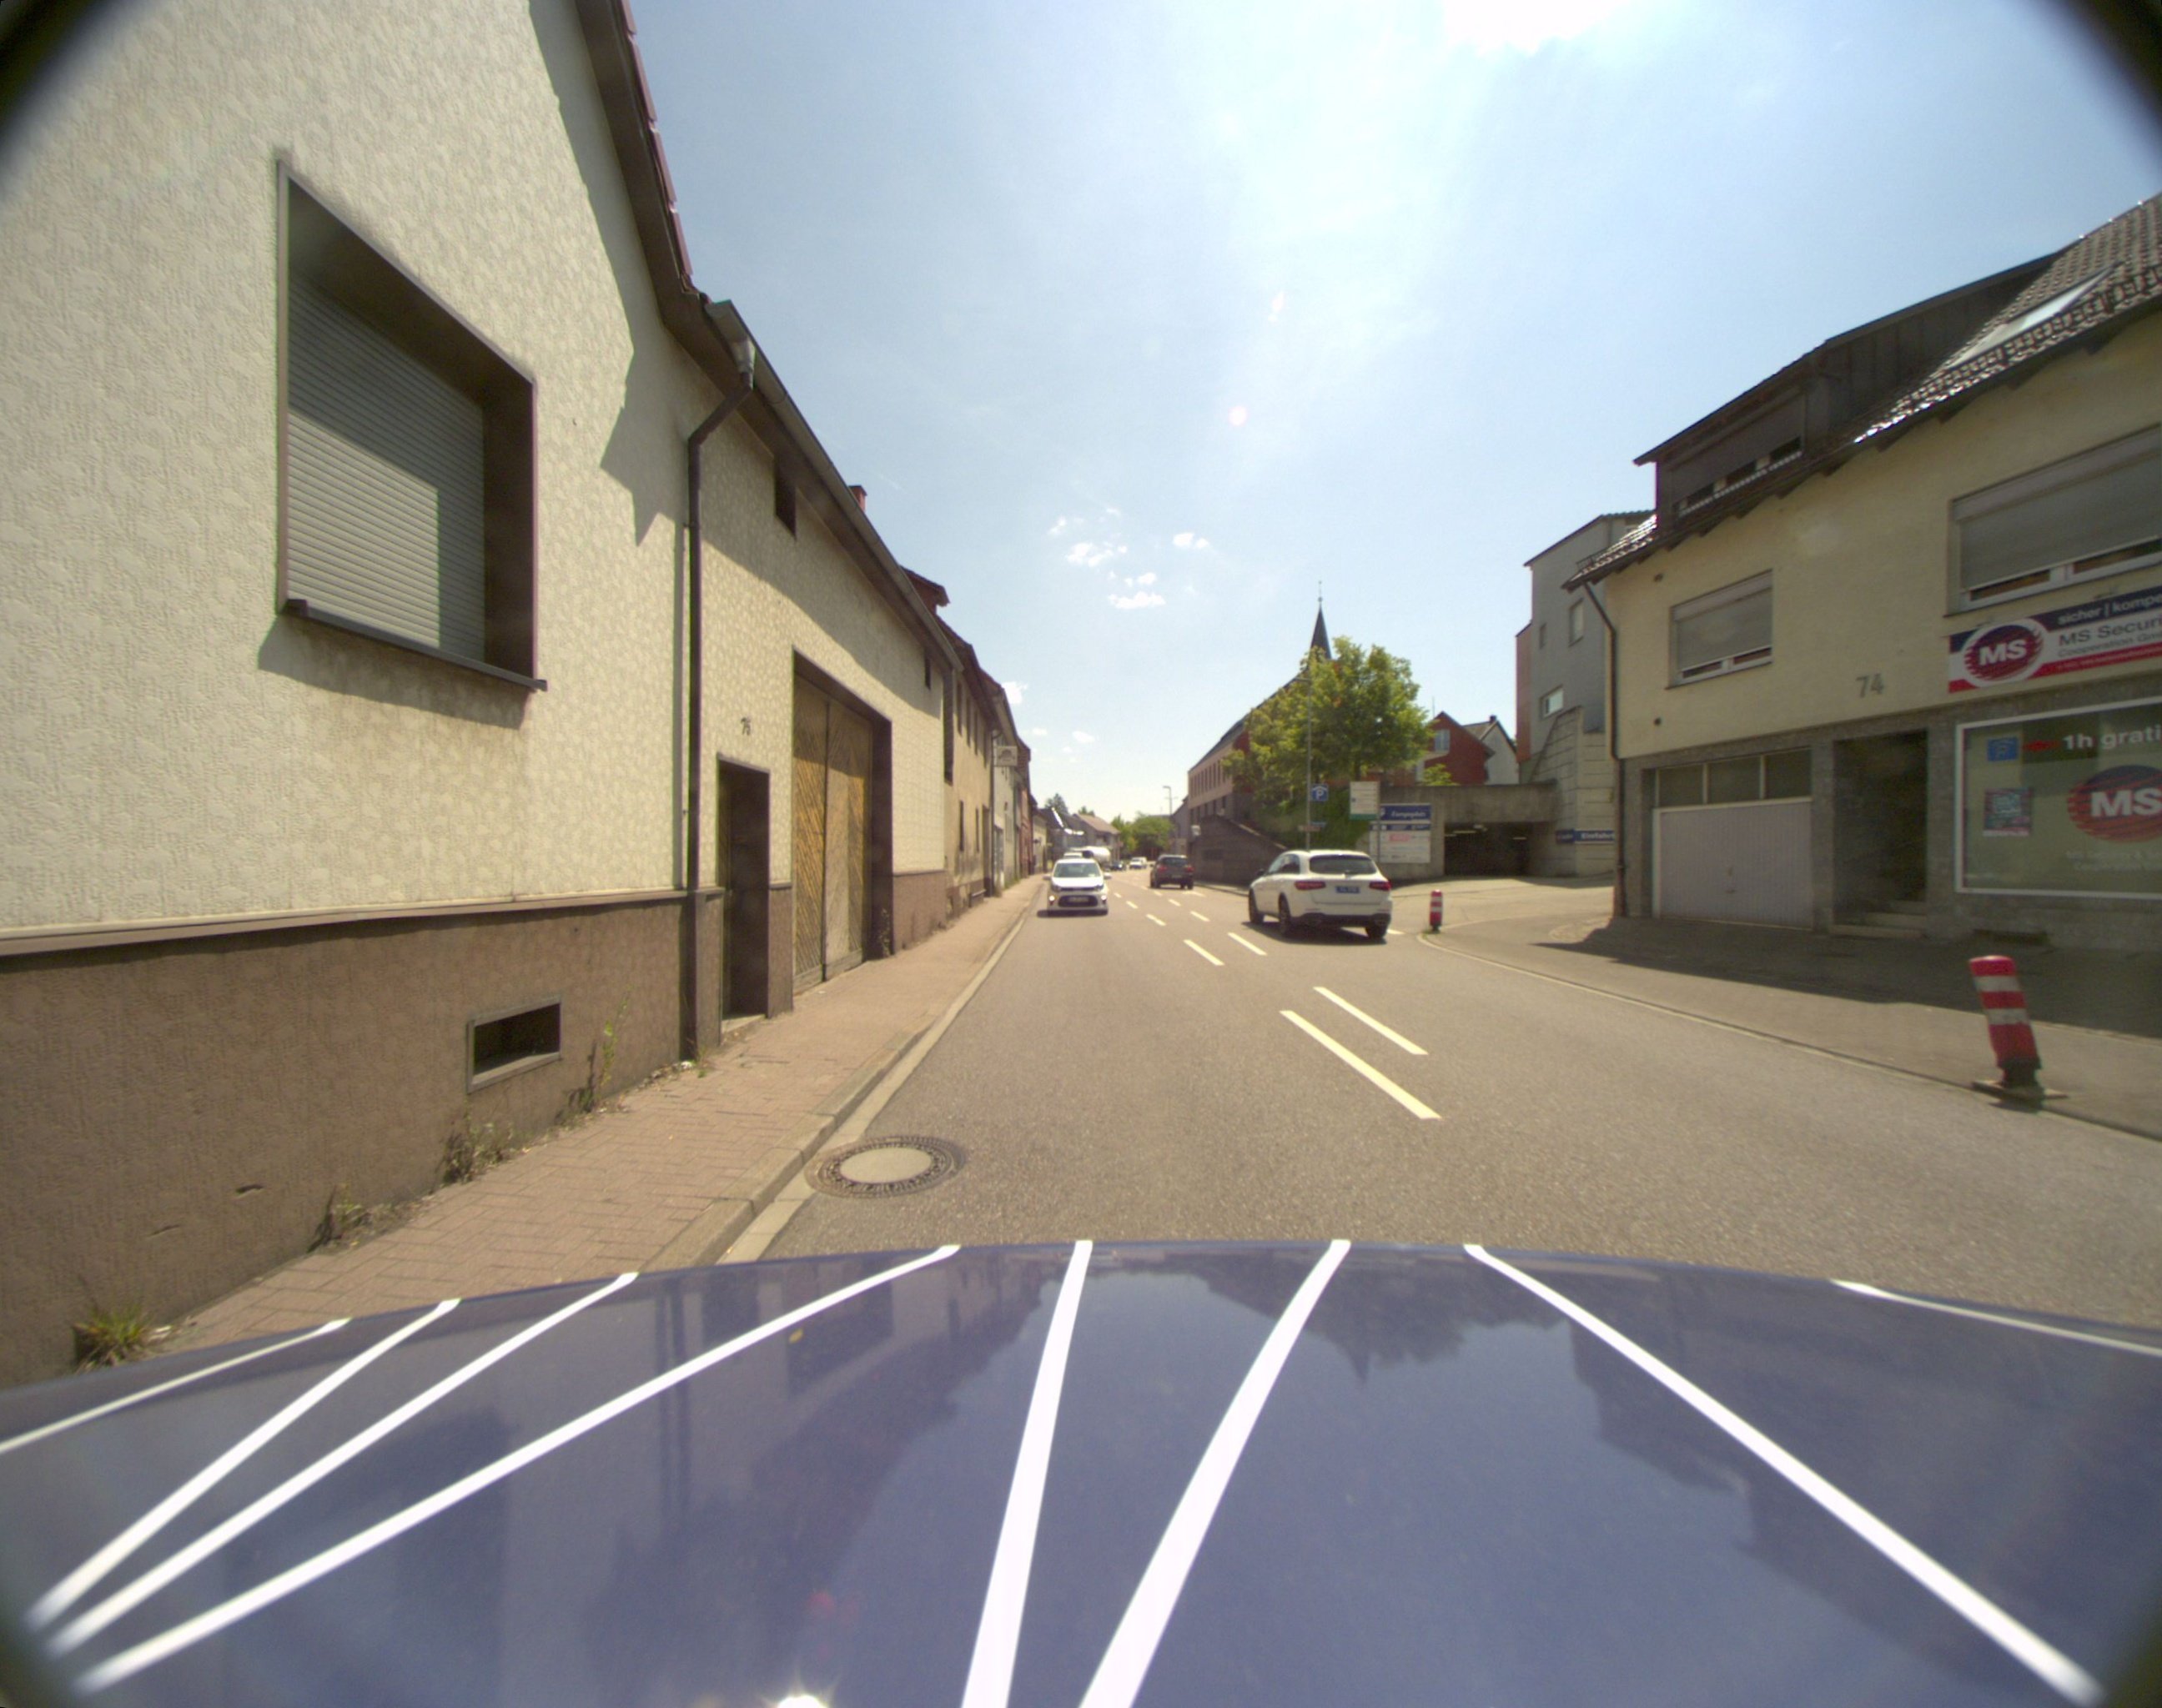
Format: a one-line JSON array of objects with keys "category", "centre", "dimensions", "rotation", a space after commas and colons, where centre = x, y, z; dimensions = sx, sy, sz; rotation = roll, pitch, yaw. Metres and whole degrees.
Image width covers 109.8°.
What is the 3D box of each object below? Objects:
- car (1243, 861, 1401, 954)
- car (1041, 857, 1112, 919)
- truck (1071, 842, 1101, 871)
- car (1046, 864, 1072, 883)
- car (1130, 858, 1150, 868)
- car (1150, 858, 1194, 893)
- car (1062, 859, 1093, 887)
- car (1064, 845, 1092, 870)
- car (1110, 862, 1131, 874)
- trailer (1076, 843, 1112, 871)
[{"category": "car", "centre": [4.627, 0.936, 15.314], "dimensions": [1.847, 1.571, 4.446], "rotation": [1, 0, 1]}, {"category": "car", "centre": [-0.018, 0.874, 21.433], "dimensions": [1.724, 1.541, 4.304], "rotation": [-1, 0, 3]}, {"category": "truck", "centre": [0.651, 0.350, 95.020], "dimensions": [2.845, 3.549, 5.473], "rotation": [0, 0, 10]}, {"category": "car", "centre": [-1.745, 1.517, 60.791], "dimensions": [1.929, 1.358, 4.303], "rotation": [-1, 0, -1]}, {"category": "car", "centre": [9.719, 1.427, 125.280], "dimensions": [2.008, 1.621, 4.585], "rotation": [0, 0, 20]}, {"category": "car", "centre": [4.488, 1.017, 37.852], "dimensions": [1.762, 1.625, 4.049], "rotation": [1, 0, 1]}, {"category": "car", "centre": [-0.273, 1.077, 45.255], "dimensions": [1.725, 1.541, 4.303], "rotation": [-1, 0, -1]}, {"category": "car", "centre": [-0.293, 0.411, 80.932], "dimensions": [2.173, 2.548, 4.828], "rotation": [0, 0, 10]}, {"category": "car", "centre": [5.978, 2.073, 114.004], "dimensions": [2.009, 1.621, 4.584], "rotation": [0, 0, 17]}, {"category": "trailer", "centre": [1.875, 0.392, 101.080], "dimensions": [2.835, 3.549, 10.976], "rotation": [0, 0, 11]}]
